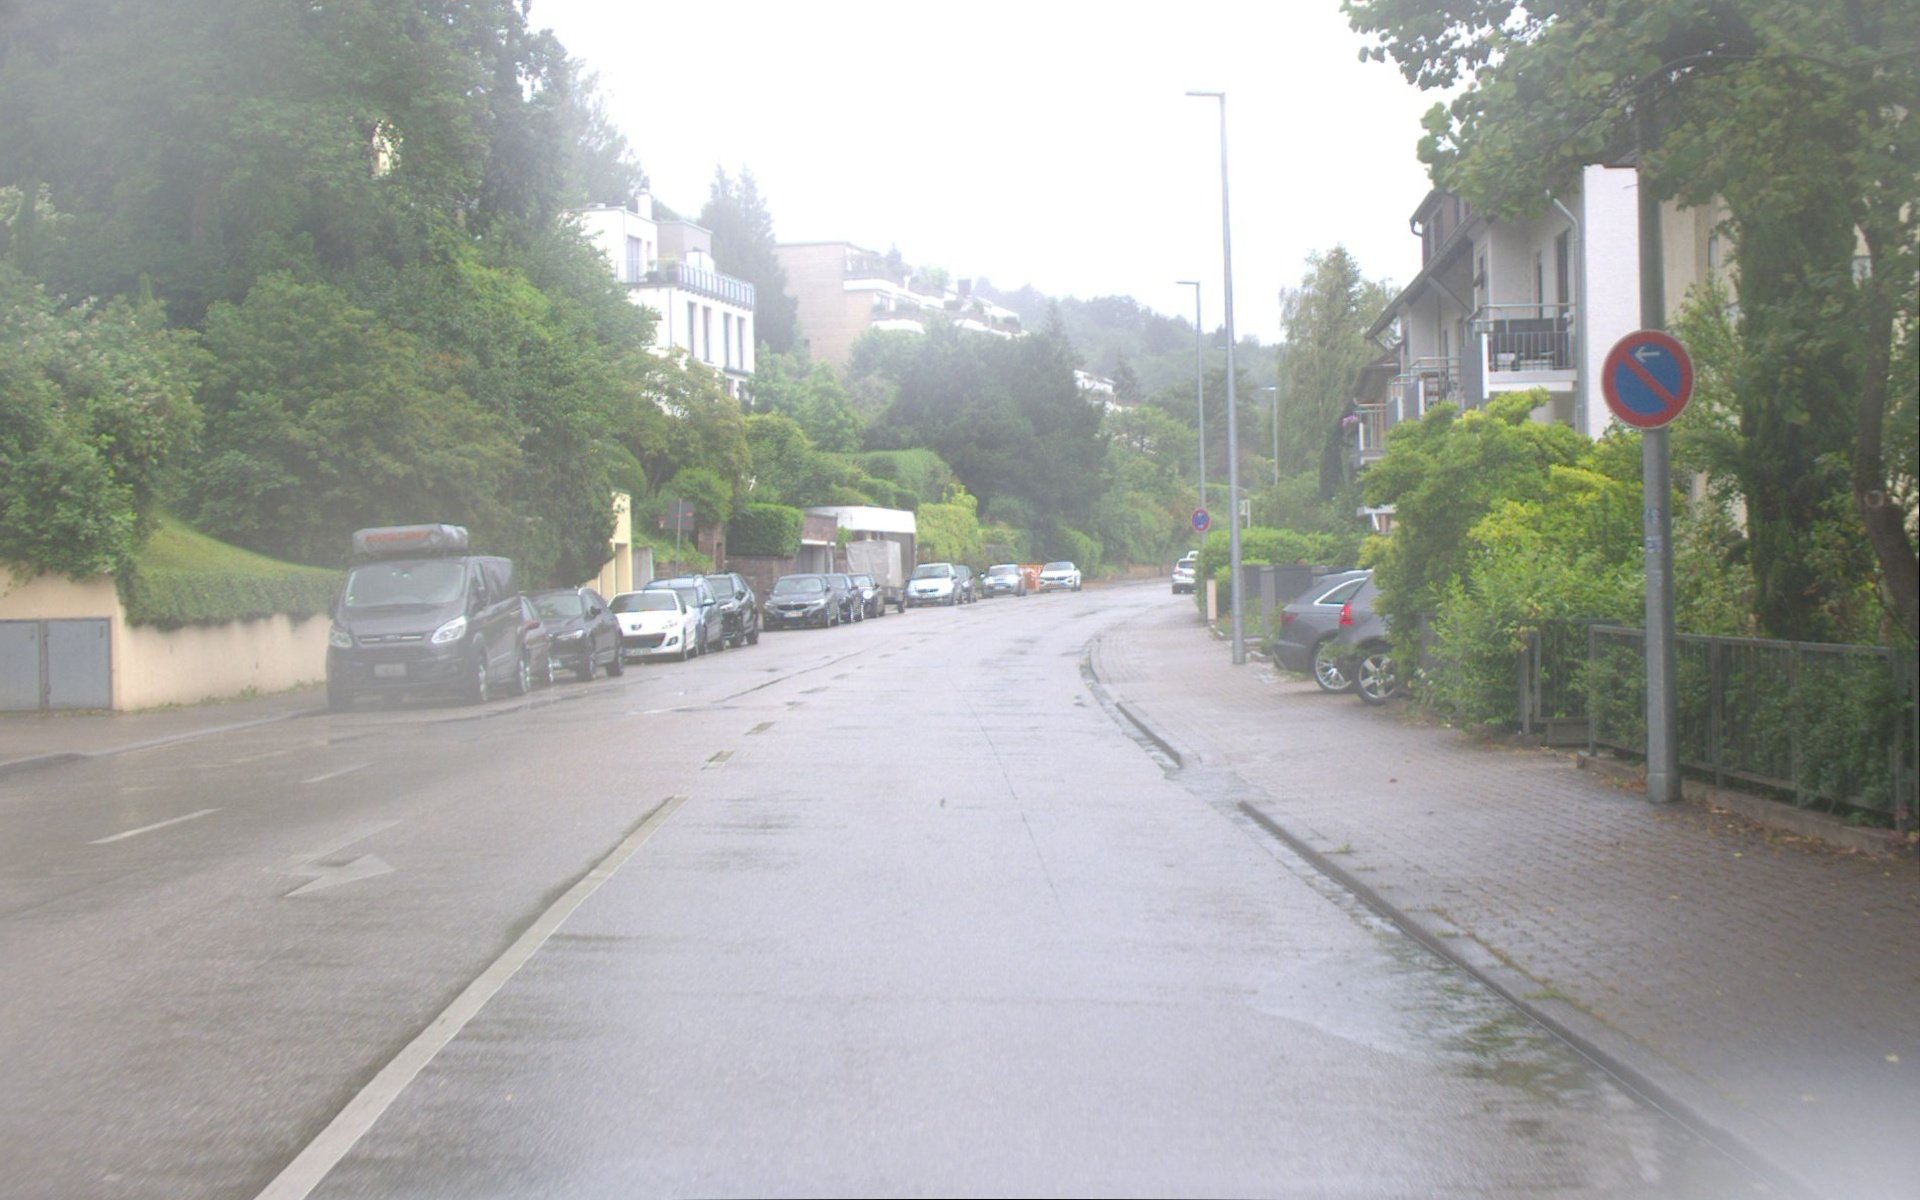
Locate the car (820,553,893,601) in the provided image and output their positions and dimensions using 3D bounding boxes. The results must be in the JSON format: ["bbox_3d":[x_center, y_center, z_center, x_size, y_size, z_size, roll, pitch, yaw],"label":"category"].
[{"bbox_3d":[-3.228,-0.719,107.397,1.808,1.344,3.775,-3,1,5],"label":"car"}]

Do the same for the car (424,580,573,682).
[{"bbox_3d":[-6.784,0.435,50.865,1.564,1.360,3.907,-3,0,1],"label":"car"}]

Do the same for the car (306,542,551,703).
[{"bbox_3d":[-6.923,0.259,45.395,2.158,1.912,5.323,-2,0,2],"label":"car"}]

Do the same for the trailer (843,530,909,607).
[{"bbox_3d":[-2.765,-1.049,113.137,1.537,2.391,3.072,-3,1,8],"label":"trailer"}]

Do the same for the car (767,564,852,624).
[{"bbox_3d":[-4.140,-0.178,94.981,1.786,1.450,4.755,-4,1,3],"label":"car"}]

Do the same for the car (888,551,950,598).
[{"bbox_3d":[-1.514,-0.960,127.172,1.756,1.534,3.756,-4,1,6],"label":"car"}]

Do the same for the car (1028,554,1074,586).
[{"bbox_3d":[4.481,-1.480,168.720,1.756,1.492,4.219,-2,0,7],"label":"car"}]

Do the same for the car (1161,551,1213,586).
[{"bbox_3d":[9.895,-1.371,149.407,1.790,1.455,4.306,-1,1,10],"label":"car"}]

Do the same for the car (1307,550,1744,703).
[{"bbox_3d":[5.726,0.257,34.956,3.995,1.452,1.768,0,1,35],"label":"car"}]

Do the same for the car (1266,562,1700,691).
[{"bbox_3d":[5.794,0.296,38.253,4.377,1.360,1.916,0,0,35],"label":"car"}]

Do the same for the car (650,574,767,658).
[{"bbox_3d":[-5.601,0.336,77.041,1.874,1.620,4.593,-4,1,4],"label":"car"}]

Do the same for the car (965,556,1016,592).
[{"bbox_3d":[1.354,-1.146,149.806,1.756,1.397,3.769,-4,1,6],"label":"car"}]

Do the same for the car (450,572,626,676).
[{"bbox_3d":[-6.786,0.357,55.781,1.908,1.475,4.755,-4,0,3],"label":"car"}]

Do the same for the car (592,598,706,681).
[{"bbox_3d":[-6.029,0.747,67.048,1.716,1.361,4.084,-4,1,1],"label":"car"}]
